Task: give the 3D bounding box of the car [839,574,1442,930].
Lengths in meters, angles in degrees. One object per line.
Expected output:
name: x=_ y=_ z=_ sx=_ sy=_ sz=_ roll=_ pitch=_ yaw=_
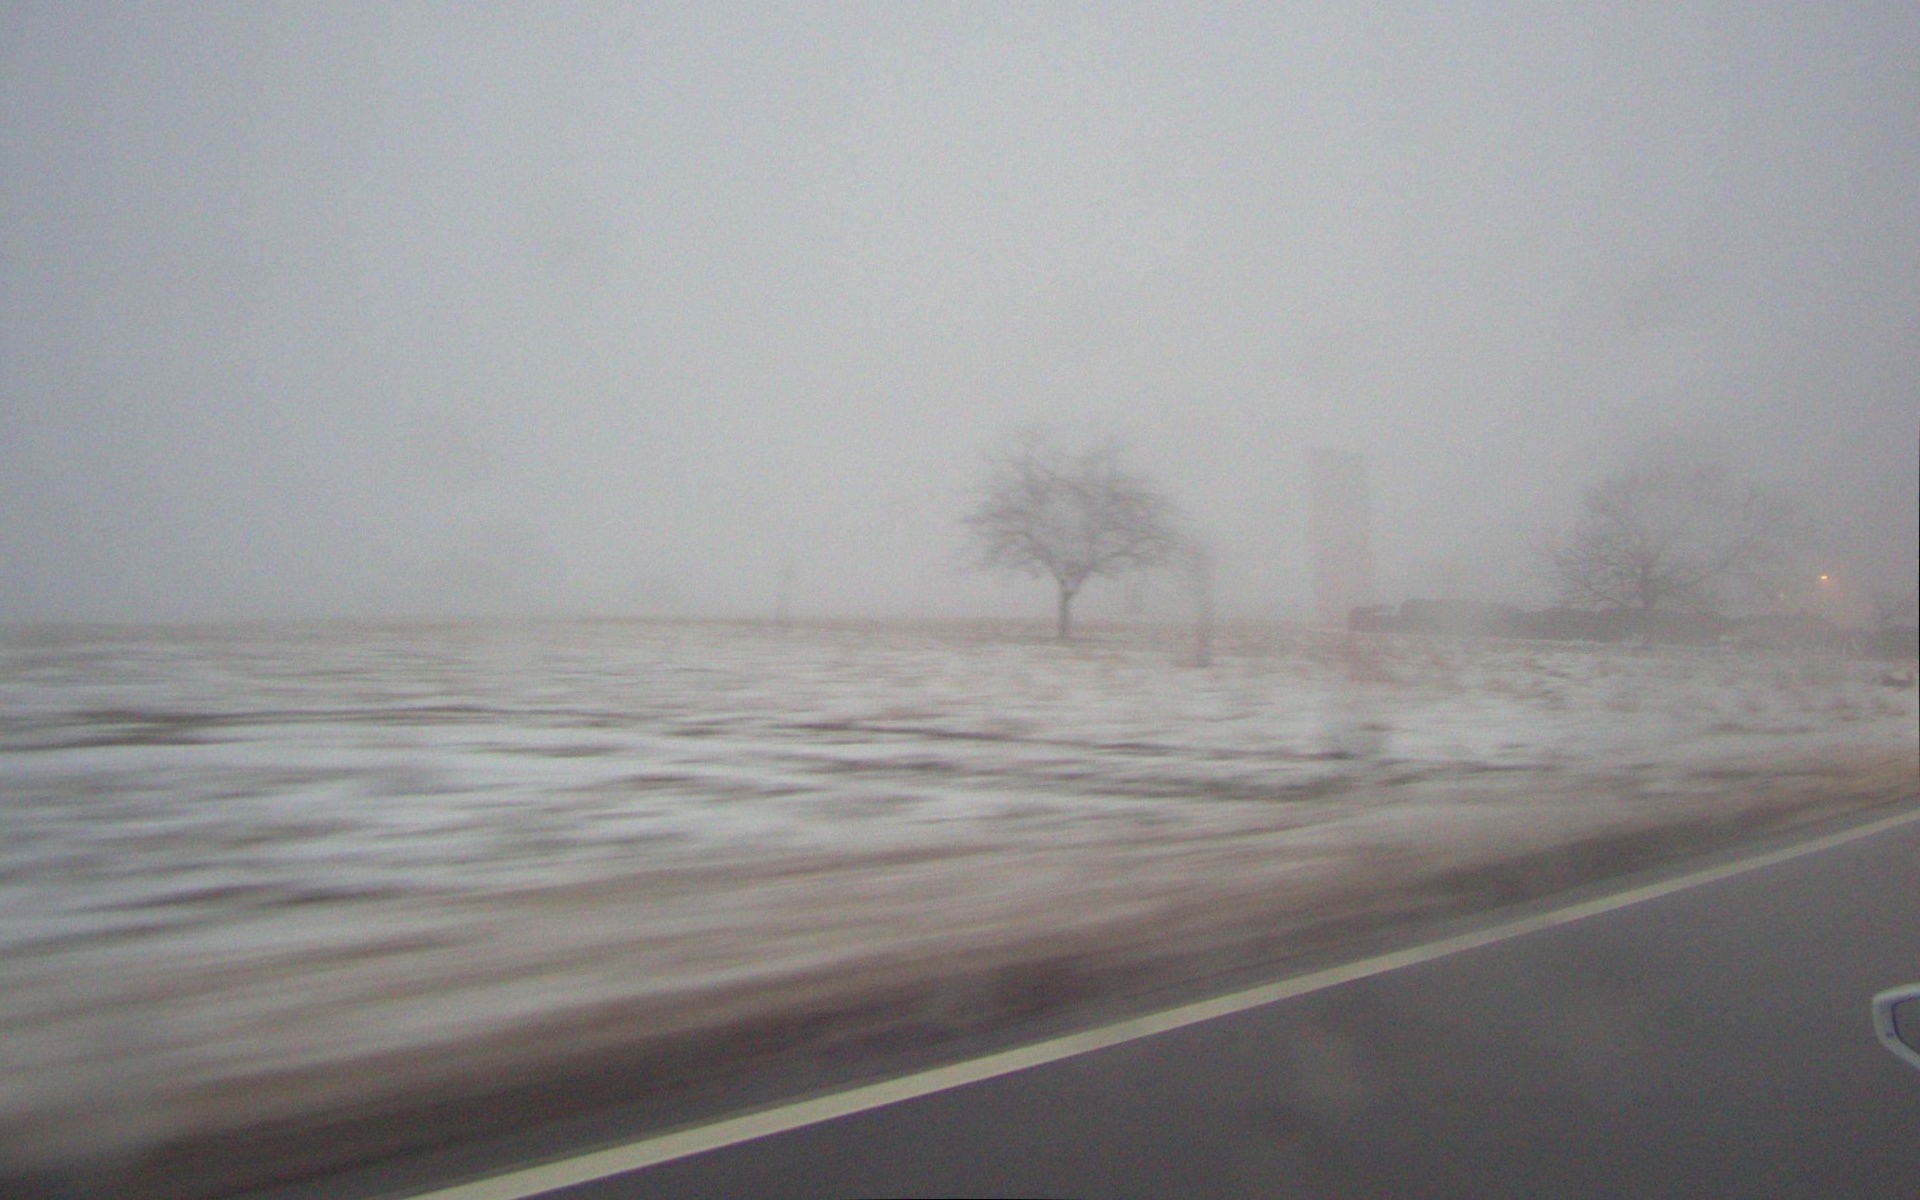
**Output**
car: x=1.014 y=0.713 z=5.667 sx=3.012 sy=1.528 sz=1.518 roll=2 pitch=-1 yaw=-26
